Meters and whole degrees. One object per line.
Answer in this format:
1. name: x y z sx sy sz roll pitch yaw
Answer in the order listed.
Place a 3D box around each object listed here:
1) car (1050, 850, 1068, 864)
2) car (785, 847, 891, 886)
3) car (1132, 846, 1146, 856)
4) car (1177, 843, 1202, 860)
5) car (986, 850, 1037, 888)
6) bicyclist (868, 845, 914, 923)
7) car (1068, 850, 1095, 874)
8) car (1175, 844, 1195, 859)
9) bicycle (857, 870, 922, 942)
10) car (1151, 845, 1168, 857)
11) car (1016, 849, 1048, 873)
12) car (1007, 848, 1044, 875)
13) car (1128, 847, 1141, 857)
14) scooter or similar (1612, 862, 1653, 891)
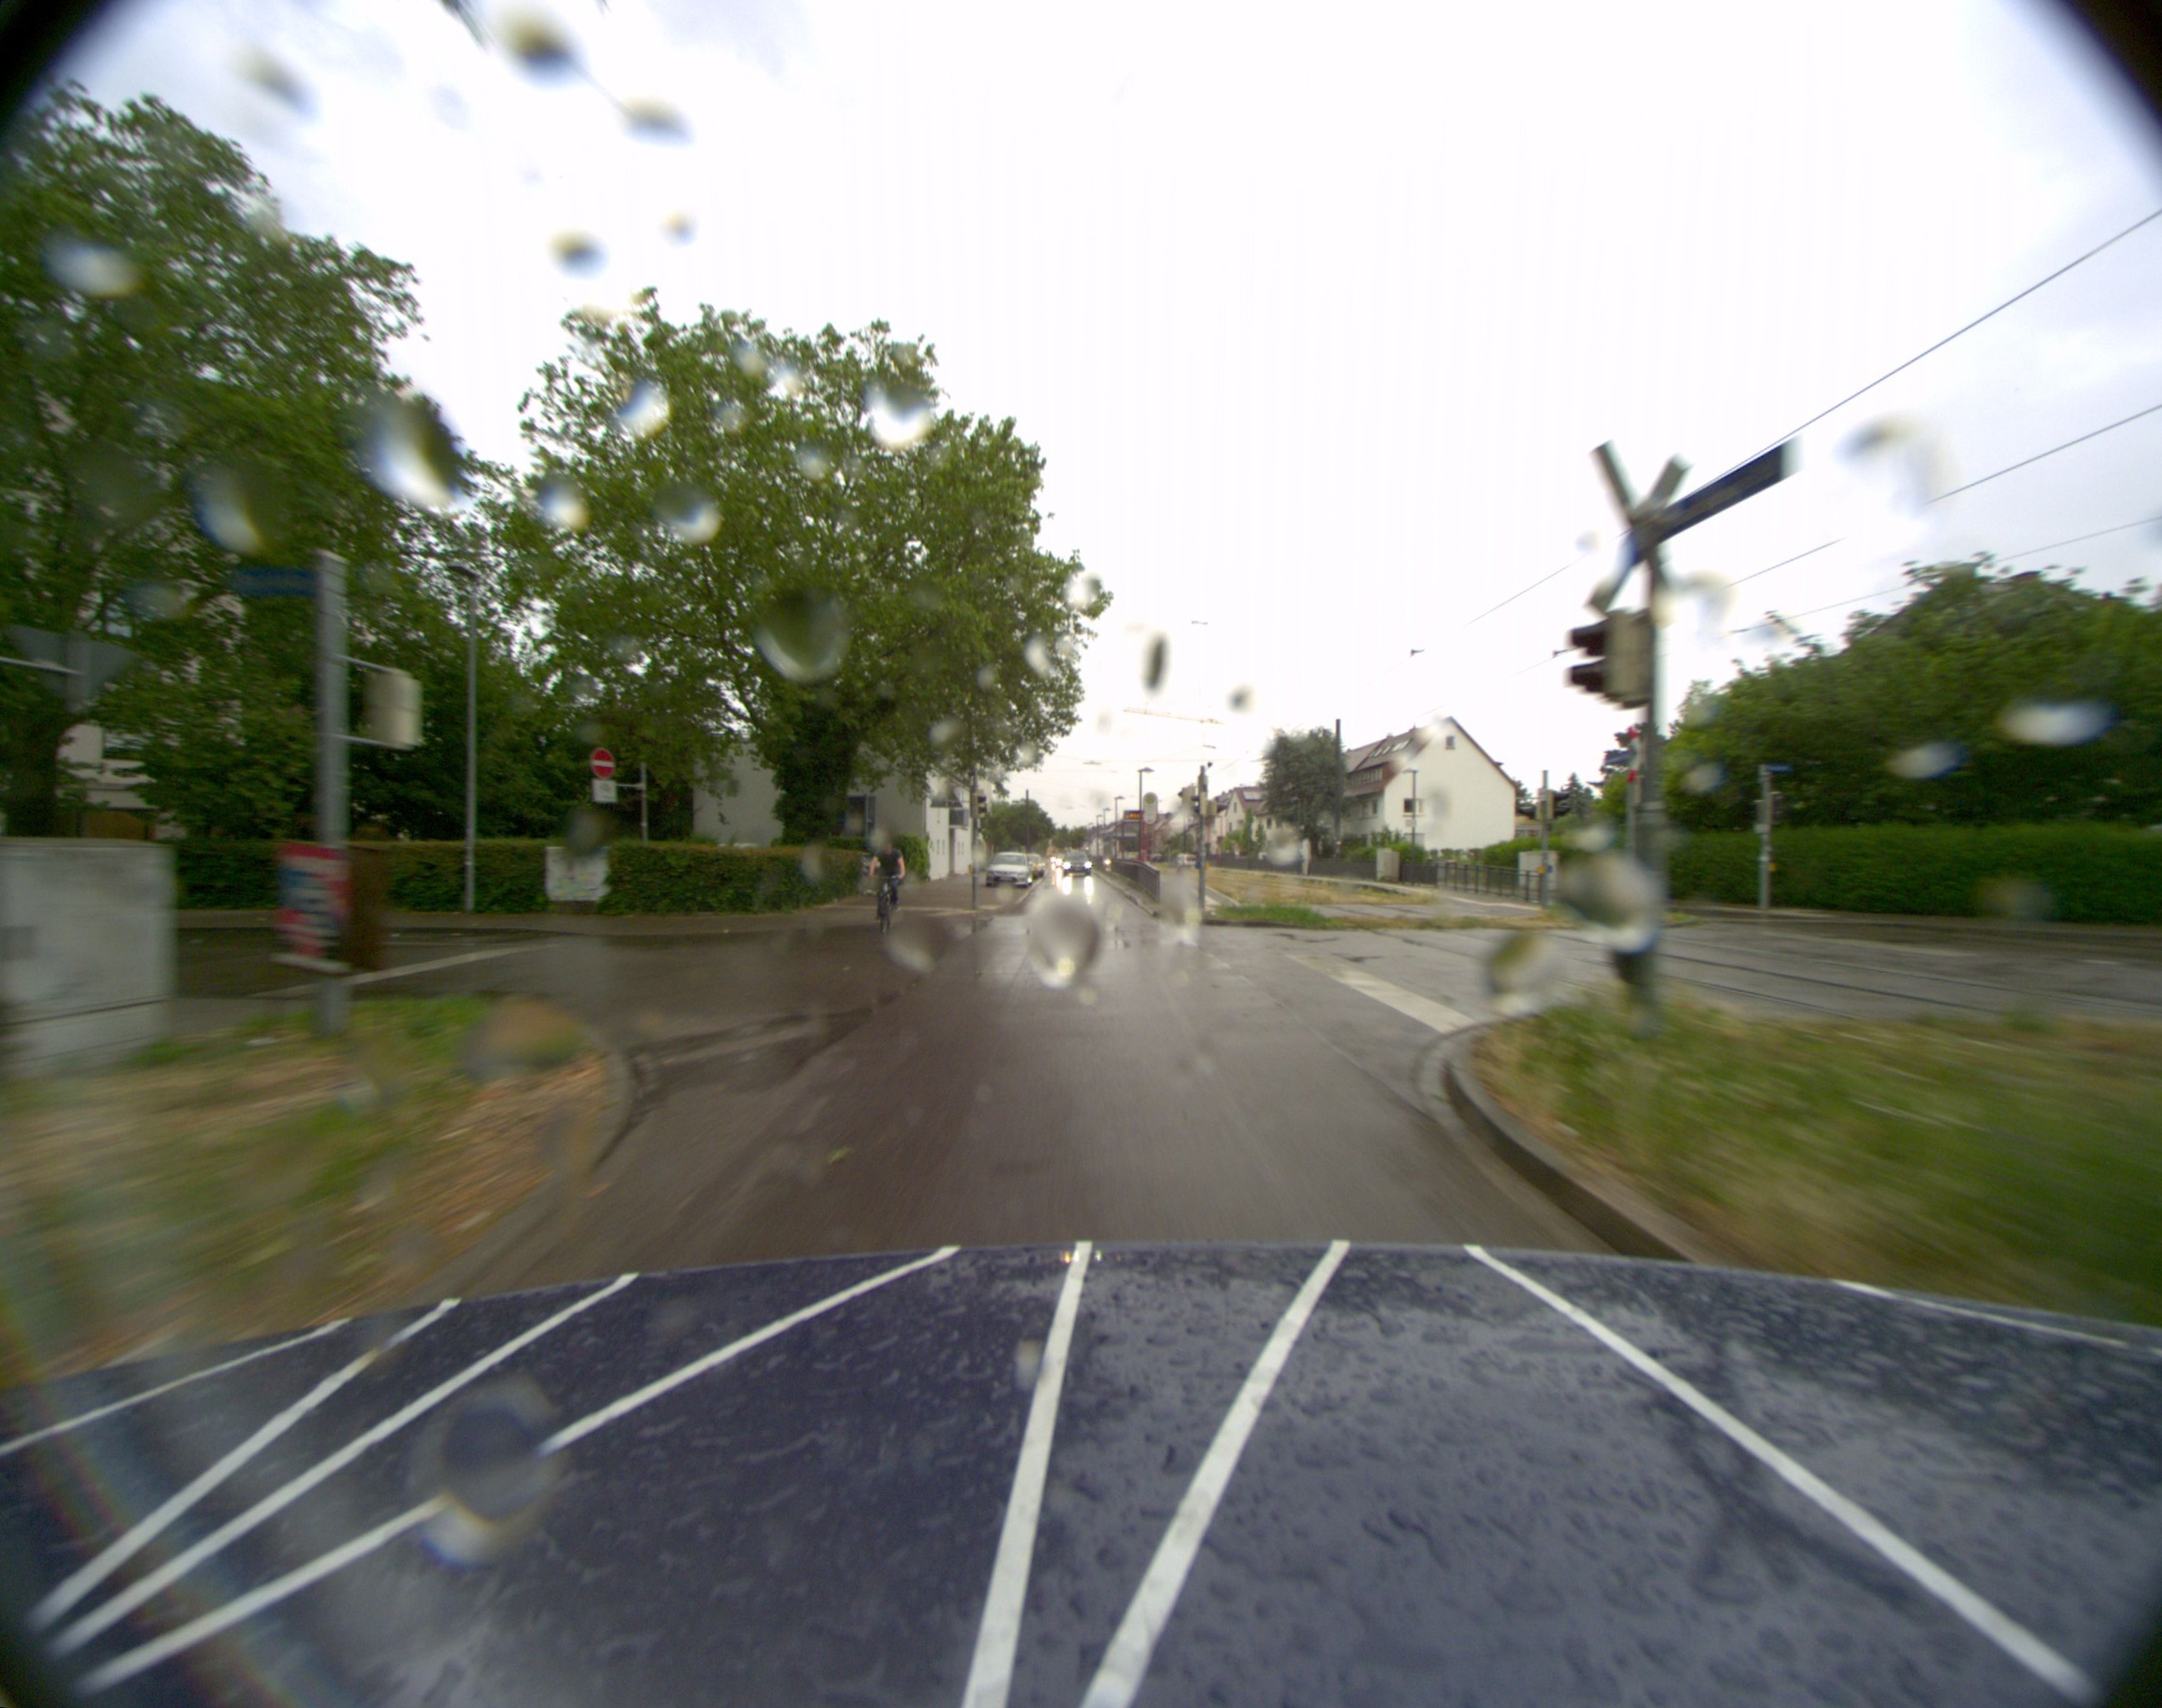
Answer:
1. car: -2.320 0.322 82.319 1.780 1.477 4.000 2 1 1
2. car: -9.492 0.473 29.889 3.578 1.399 1.676 2 1 3
3. car: 11.193 -0.632 146.679 2.000 2.002 3.997 0 1 -6
4. car: 12.966 -0.314 90.832 2.000 2.002 3.997 0 1 -7
5. car: -2.940 0.612 33.038 1.780 1.477 4.000 2 1 1
6. bicyclist: -3.592 0.549 14.414 0.675 1.421 0.753 1 1 -2
7. car: 0.043 0.511 52.264 1.780 1.477 4.000 2 1 1
8. car: 14.230 -0.306 104.301 1.999 2.002 3.998 0 1 -5
9. bicycle: -3.602 0.941 14.507 0.675 1.136 2.444 1 1 -1
10. car: 12.965 -0.501 125.672 2.000 2.002 3.997 0 1 -6
11. car: -3.161 0.426 49.526 1.780 1.477 4.000 2 1 1
12. car: -3.207 0.395 44.311 1.780 1.477 4.000 2 1 1
13. car: 10.710 -0.386 152.038 2.000 2.002 3.997 0 1 -6
14. scooter or similar: 18.275 0.740 25.205 0.347 0.905 1.258 0 1 -4
